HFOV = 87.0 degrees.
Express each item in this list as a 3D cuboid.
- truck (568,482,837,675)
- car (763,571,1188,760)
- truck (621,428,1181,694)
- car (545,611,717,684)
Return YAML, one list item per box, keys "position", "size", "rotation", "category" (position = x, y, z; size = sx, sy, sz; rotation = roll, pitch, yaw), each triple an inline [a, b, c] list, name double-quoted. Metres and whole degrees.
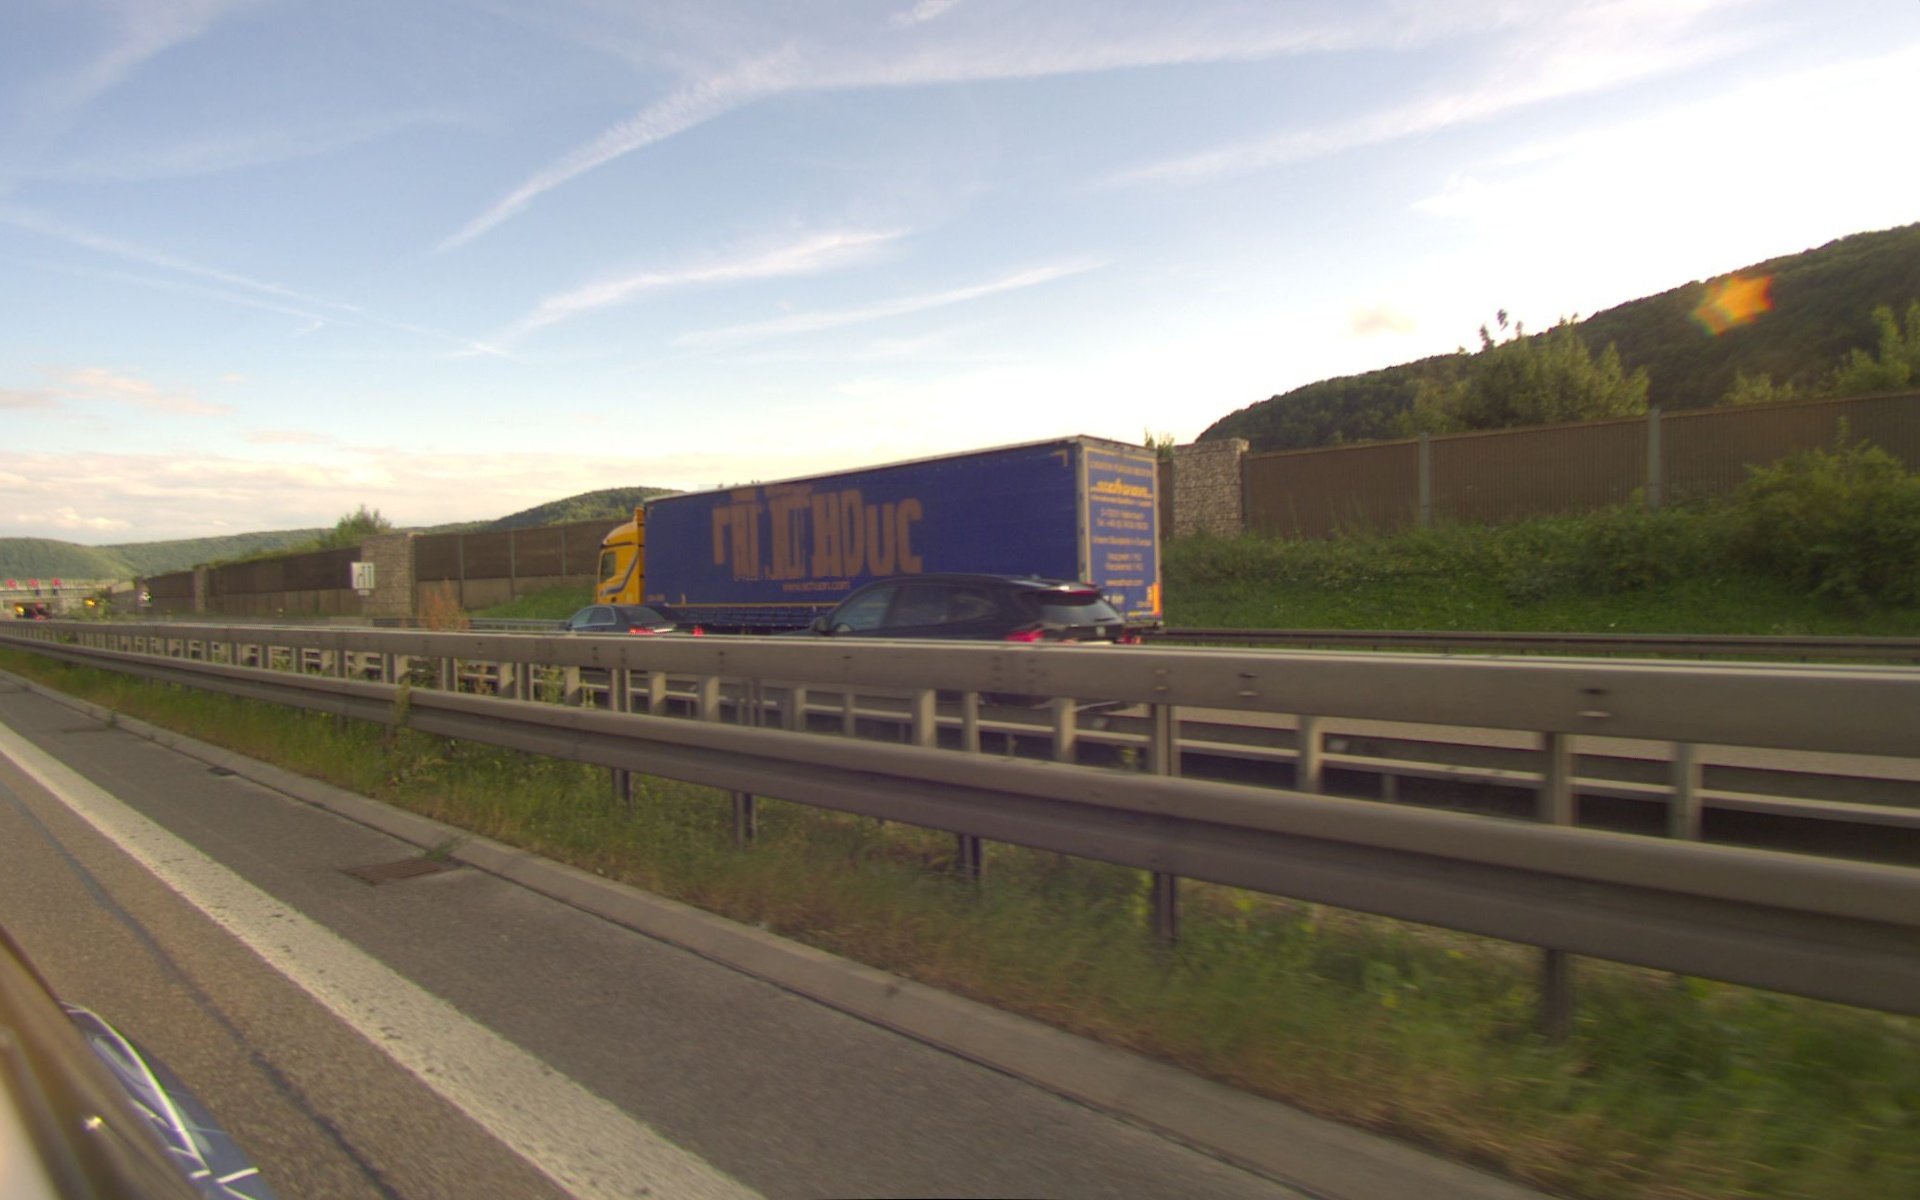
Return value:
- position: [-6.912, -0.426, 26.260]
  size: [8.163, 4.292, 2.622]
  rotation: [-1, -1, 41]
  category: "truck"
- position: [0.006, 0.542, 9.829]
  size: [3.997, 1.470, 1.667]
  rotation: [-1, -1, 41]
  category: "car"
- position: [-2.368, -0.525, 22.225]
  size: [14.671, 4.311, 2.622]
  rotation: [-1, -1, 41]
  category: "truck"
- position: [-7.103, 0.956, 21.662]
  size: [3.997, 1.407, 1.667]
  rotation: [-1, -1, 41]
  category: "car"
